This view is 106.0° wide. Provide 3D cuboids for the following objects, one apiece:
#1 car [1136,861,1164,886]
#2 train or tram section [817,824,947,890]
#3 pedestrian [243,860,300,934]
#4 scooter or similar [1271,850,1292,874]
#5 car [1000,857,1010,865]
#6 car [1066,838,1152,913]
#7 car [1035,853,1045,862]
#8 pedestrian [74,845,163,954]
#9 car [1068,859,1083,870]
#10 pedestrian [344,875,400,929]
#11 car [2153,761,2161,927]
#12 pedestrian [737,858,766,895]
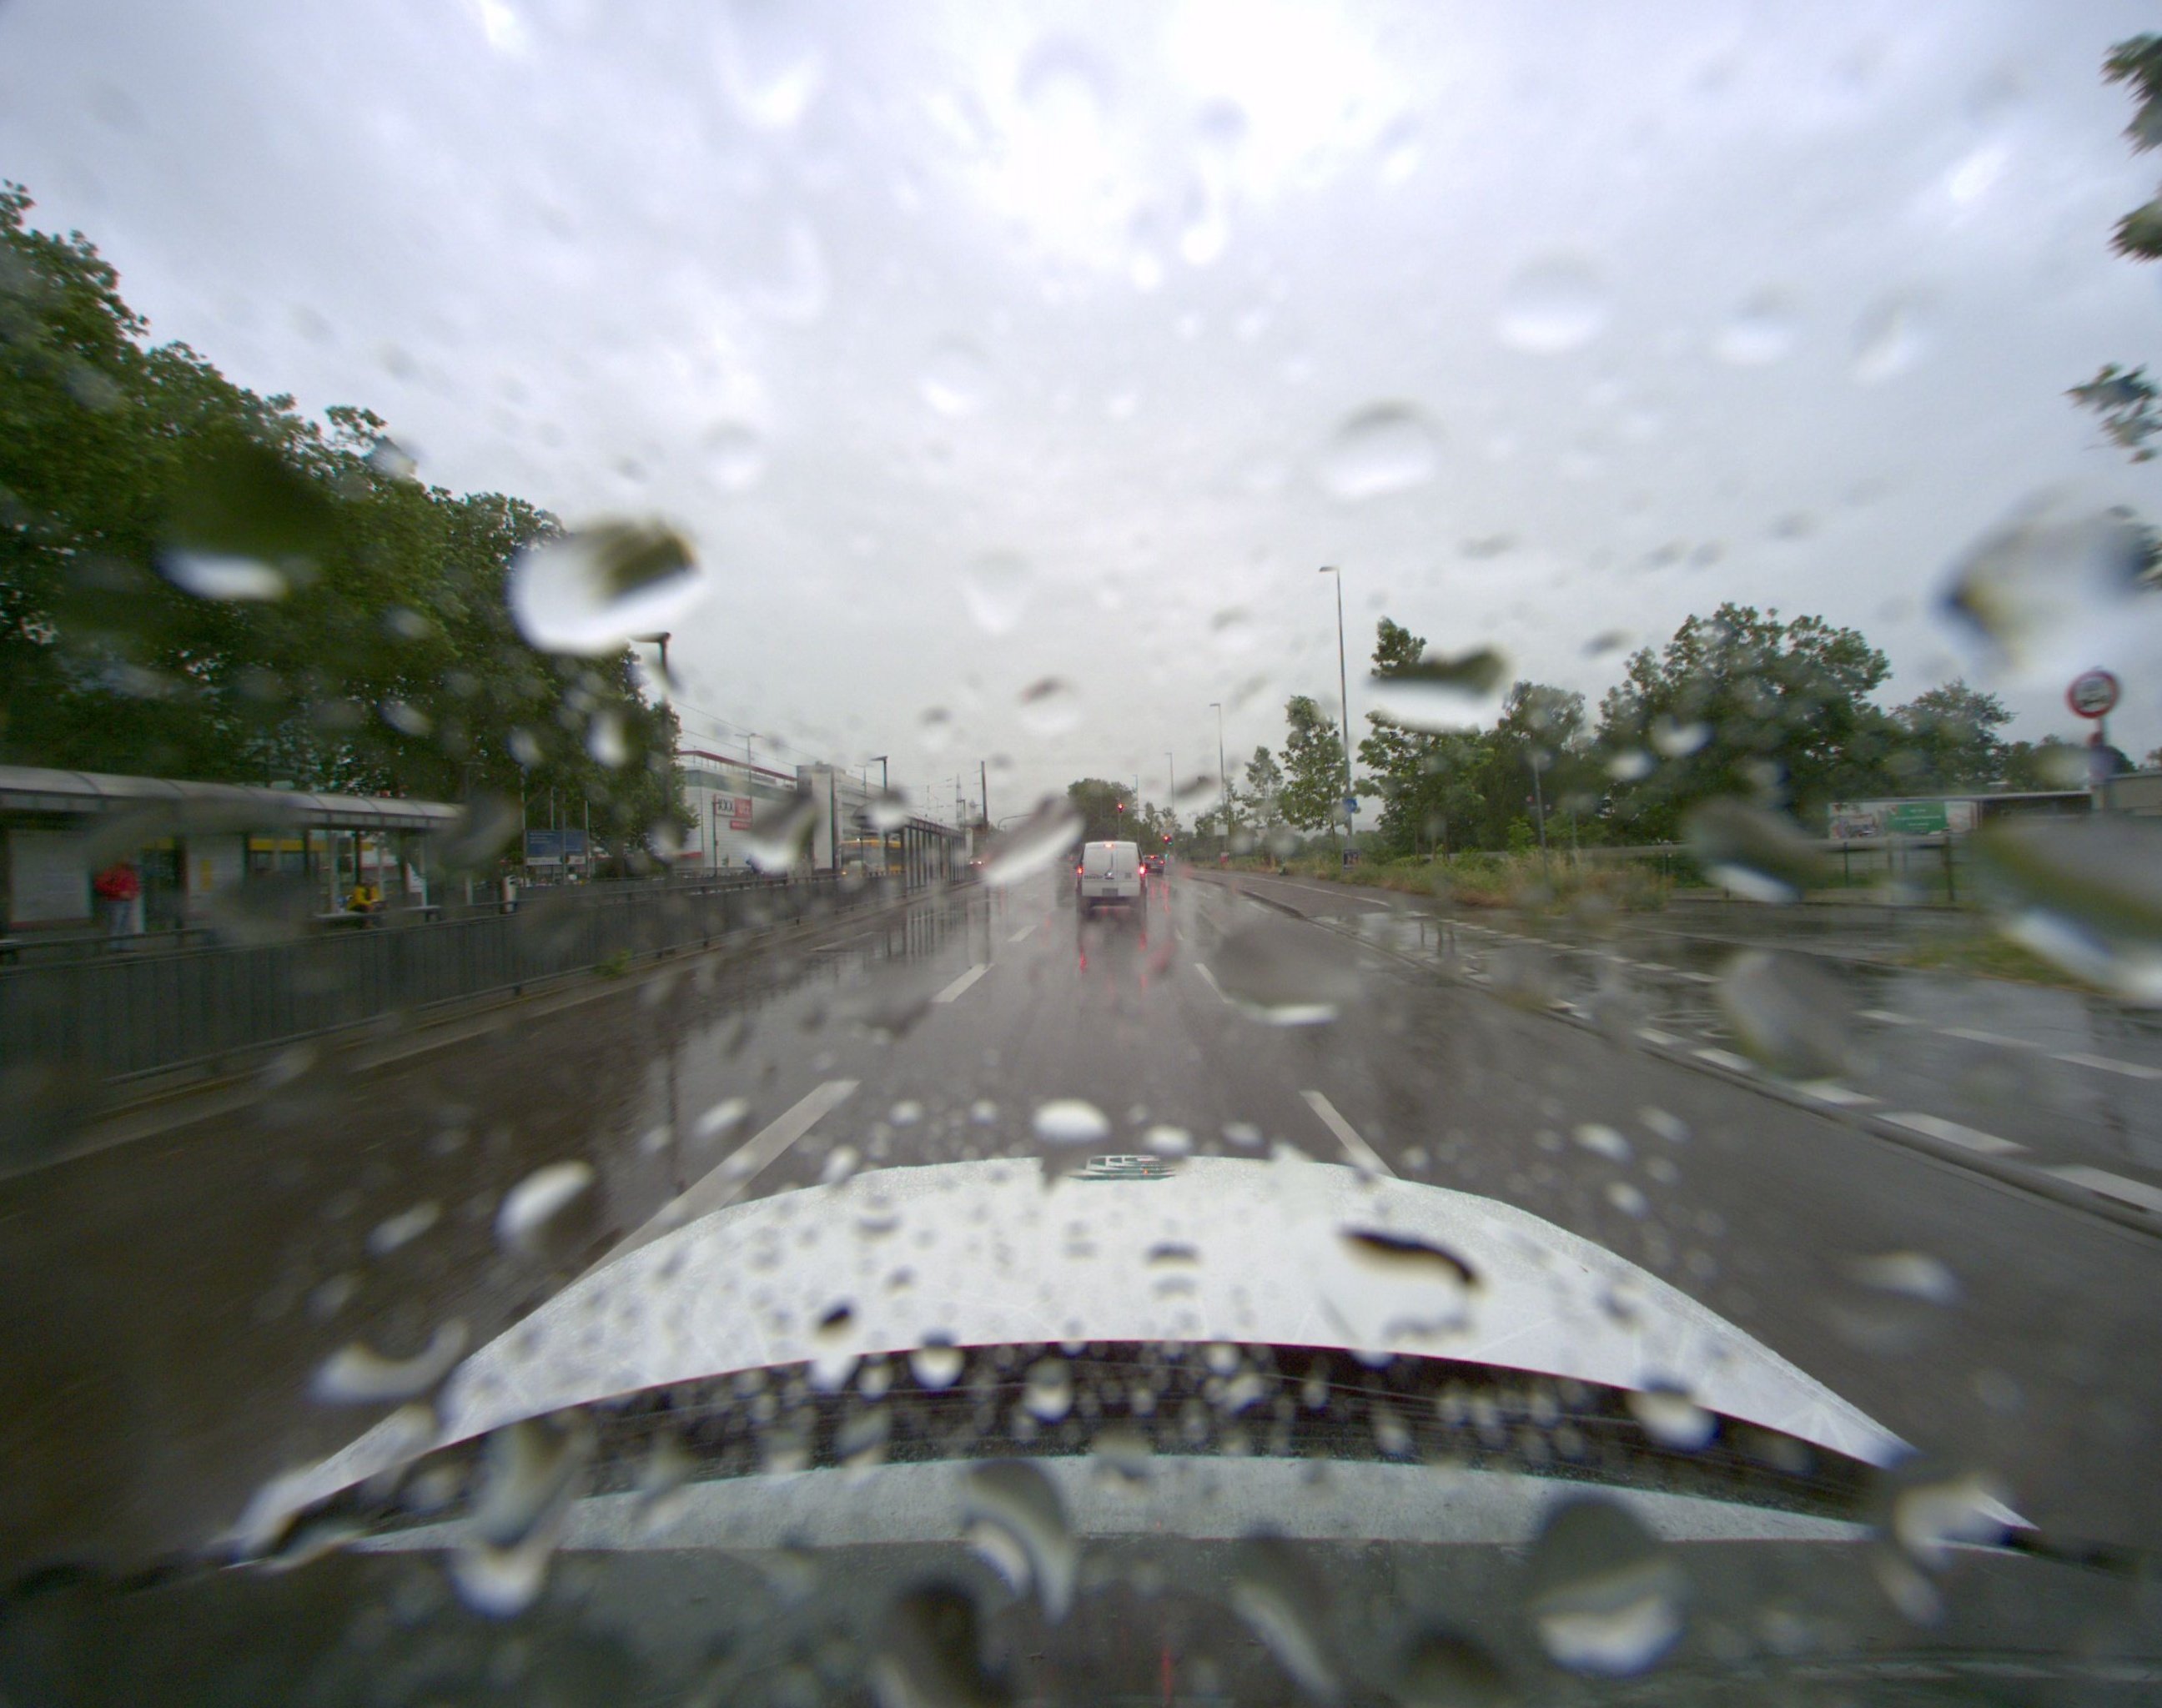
[{"bbox_3d":[5.019,1.411,59.723,1.985,1.750,4.004,0,0,3],"label":"car"},{"bbox_3d":[-14.406,0.246,63.472,3.759,4.036,27.082,0,0,-1],"label":"train or tram section"},{"bbox_3d":[-17.723,0.920,17.847,0.832,1.561,0.665,0,-1,-40],"label":"pedestrian"},{"bbox_3d":[10.176,0.401,41.372,0.641,1.195,1.562,-2,0,-1],"label":"scooter or similar"},{"bbox_3d":[-20.279,1.803,217.436,1.985,2.014,4.004,0,0,3],"label":"car"},{"bbox_3d":[0.630,0.510,21.361,2.019,1.775,4.272,0,0,-1],"label":"car"},{"bbox_3d":[-8.632,0.780,170.121,1.990,1.750,3.993,0,0,-5],"label":"car"},{"bbox_3d":[-17.448,0.802,14.780,0.618,1.933,0.815,0,-1,5],"label":"pedestrian"},{"bbox_3d":[-0.814,1.623,125.317,1.990,1.750,3.993,0,0,-5],"label":"car"},{"bbox_3d":[-17.714,1.194,20.360,0.640,1.303,0.815,0,-1,5],"label":"pedestrian"},{"bbox_3d":[15.720,-0.135,9.056,5.237,2.014,1.998,0,0,-3],"label":"car"},{"bbox_3d":[-17.851,1.202,44.137,1.083,2.014,1.097,0,-1,4],"label":"pedestrian"}]
